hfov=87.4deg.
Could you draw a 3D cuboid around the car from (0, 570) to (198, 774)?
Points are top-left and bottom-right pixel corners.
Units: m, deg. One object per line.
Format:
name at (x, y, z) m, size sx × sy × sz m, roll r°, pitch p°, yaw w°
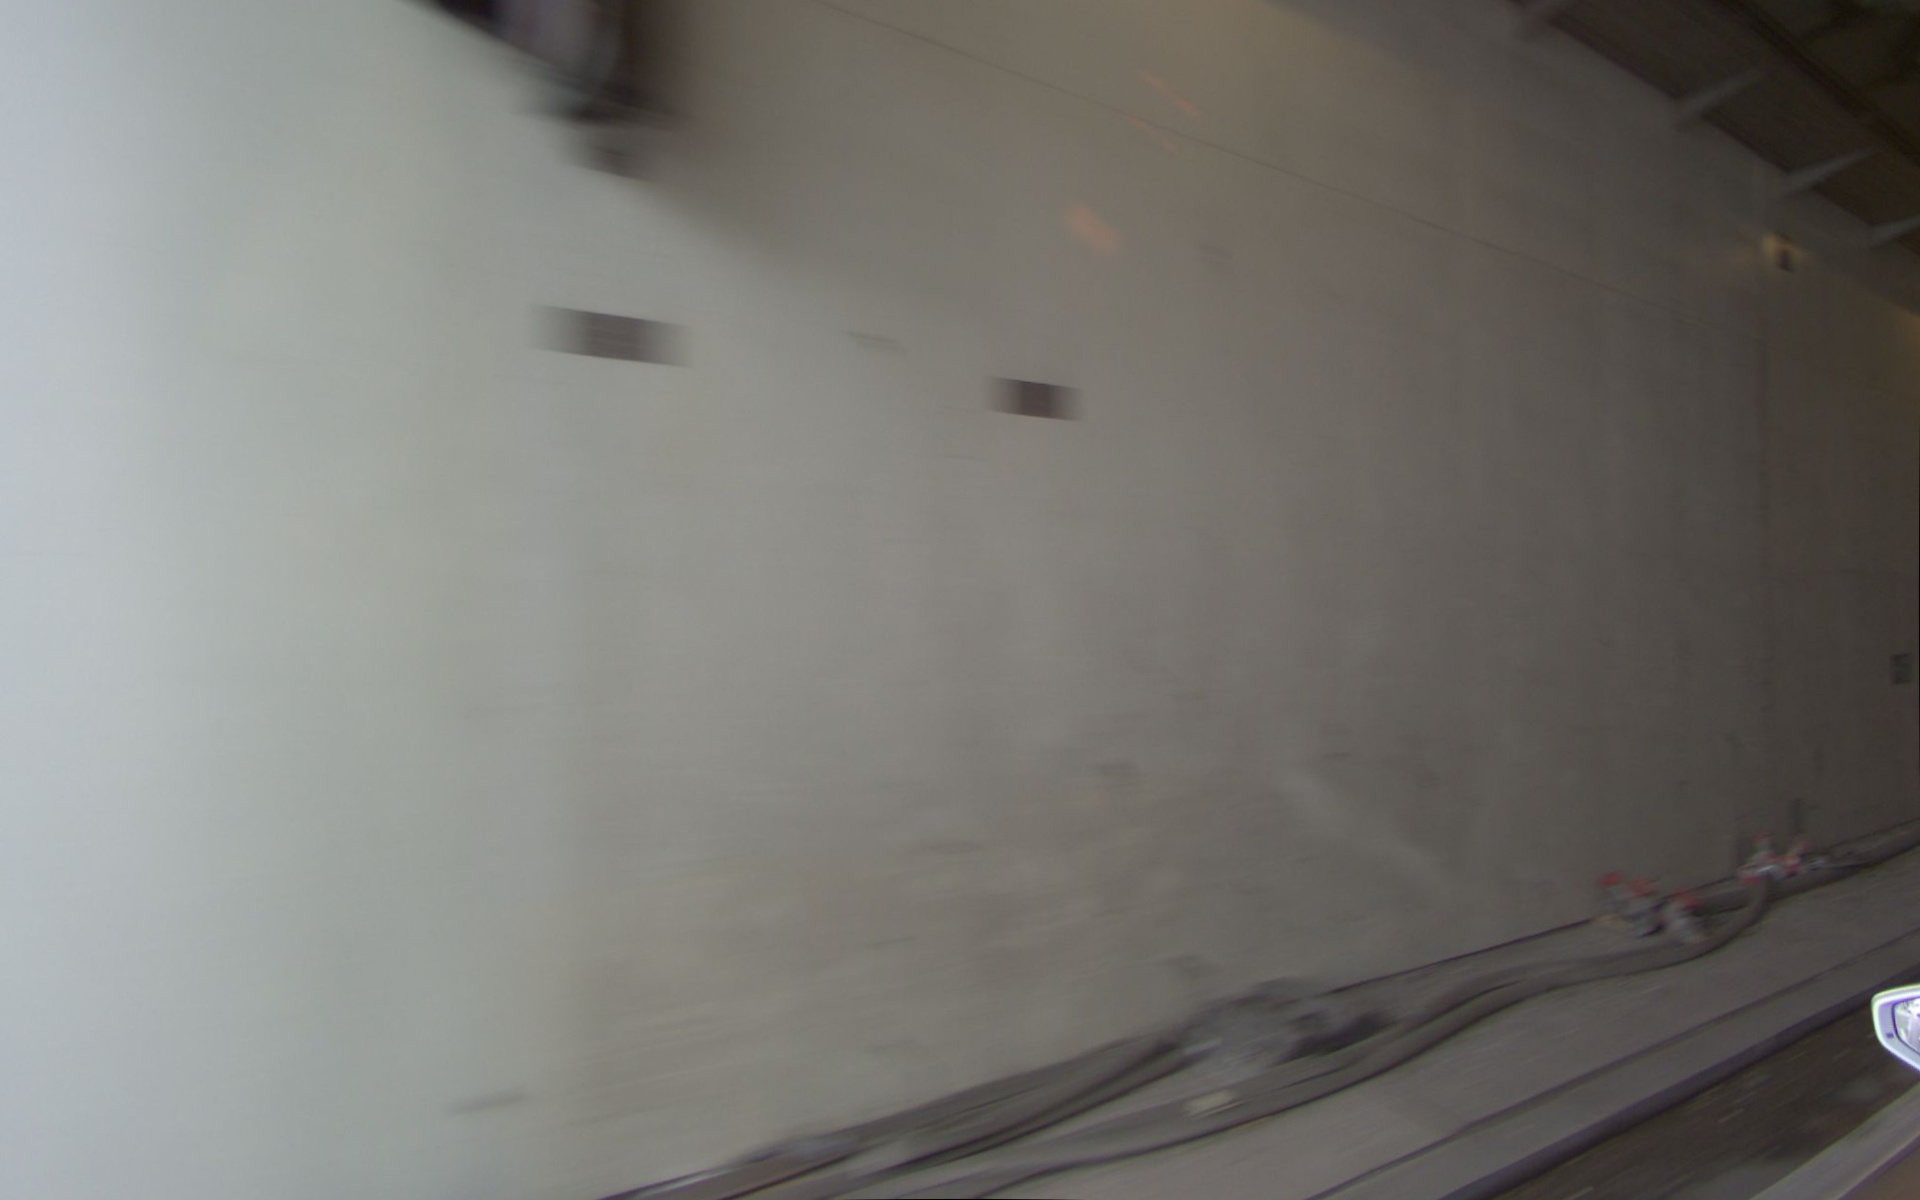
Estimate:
car at (-8.853, 0.563, 8.005) m, size 4.297 × 1.621 × 1.777 m, roll 1°, pitch 0°, yaw -43°
